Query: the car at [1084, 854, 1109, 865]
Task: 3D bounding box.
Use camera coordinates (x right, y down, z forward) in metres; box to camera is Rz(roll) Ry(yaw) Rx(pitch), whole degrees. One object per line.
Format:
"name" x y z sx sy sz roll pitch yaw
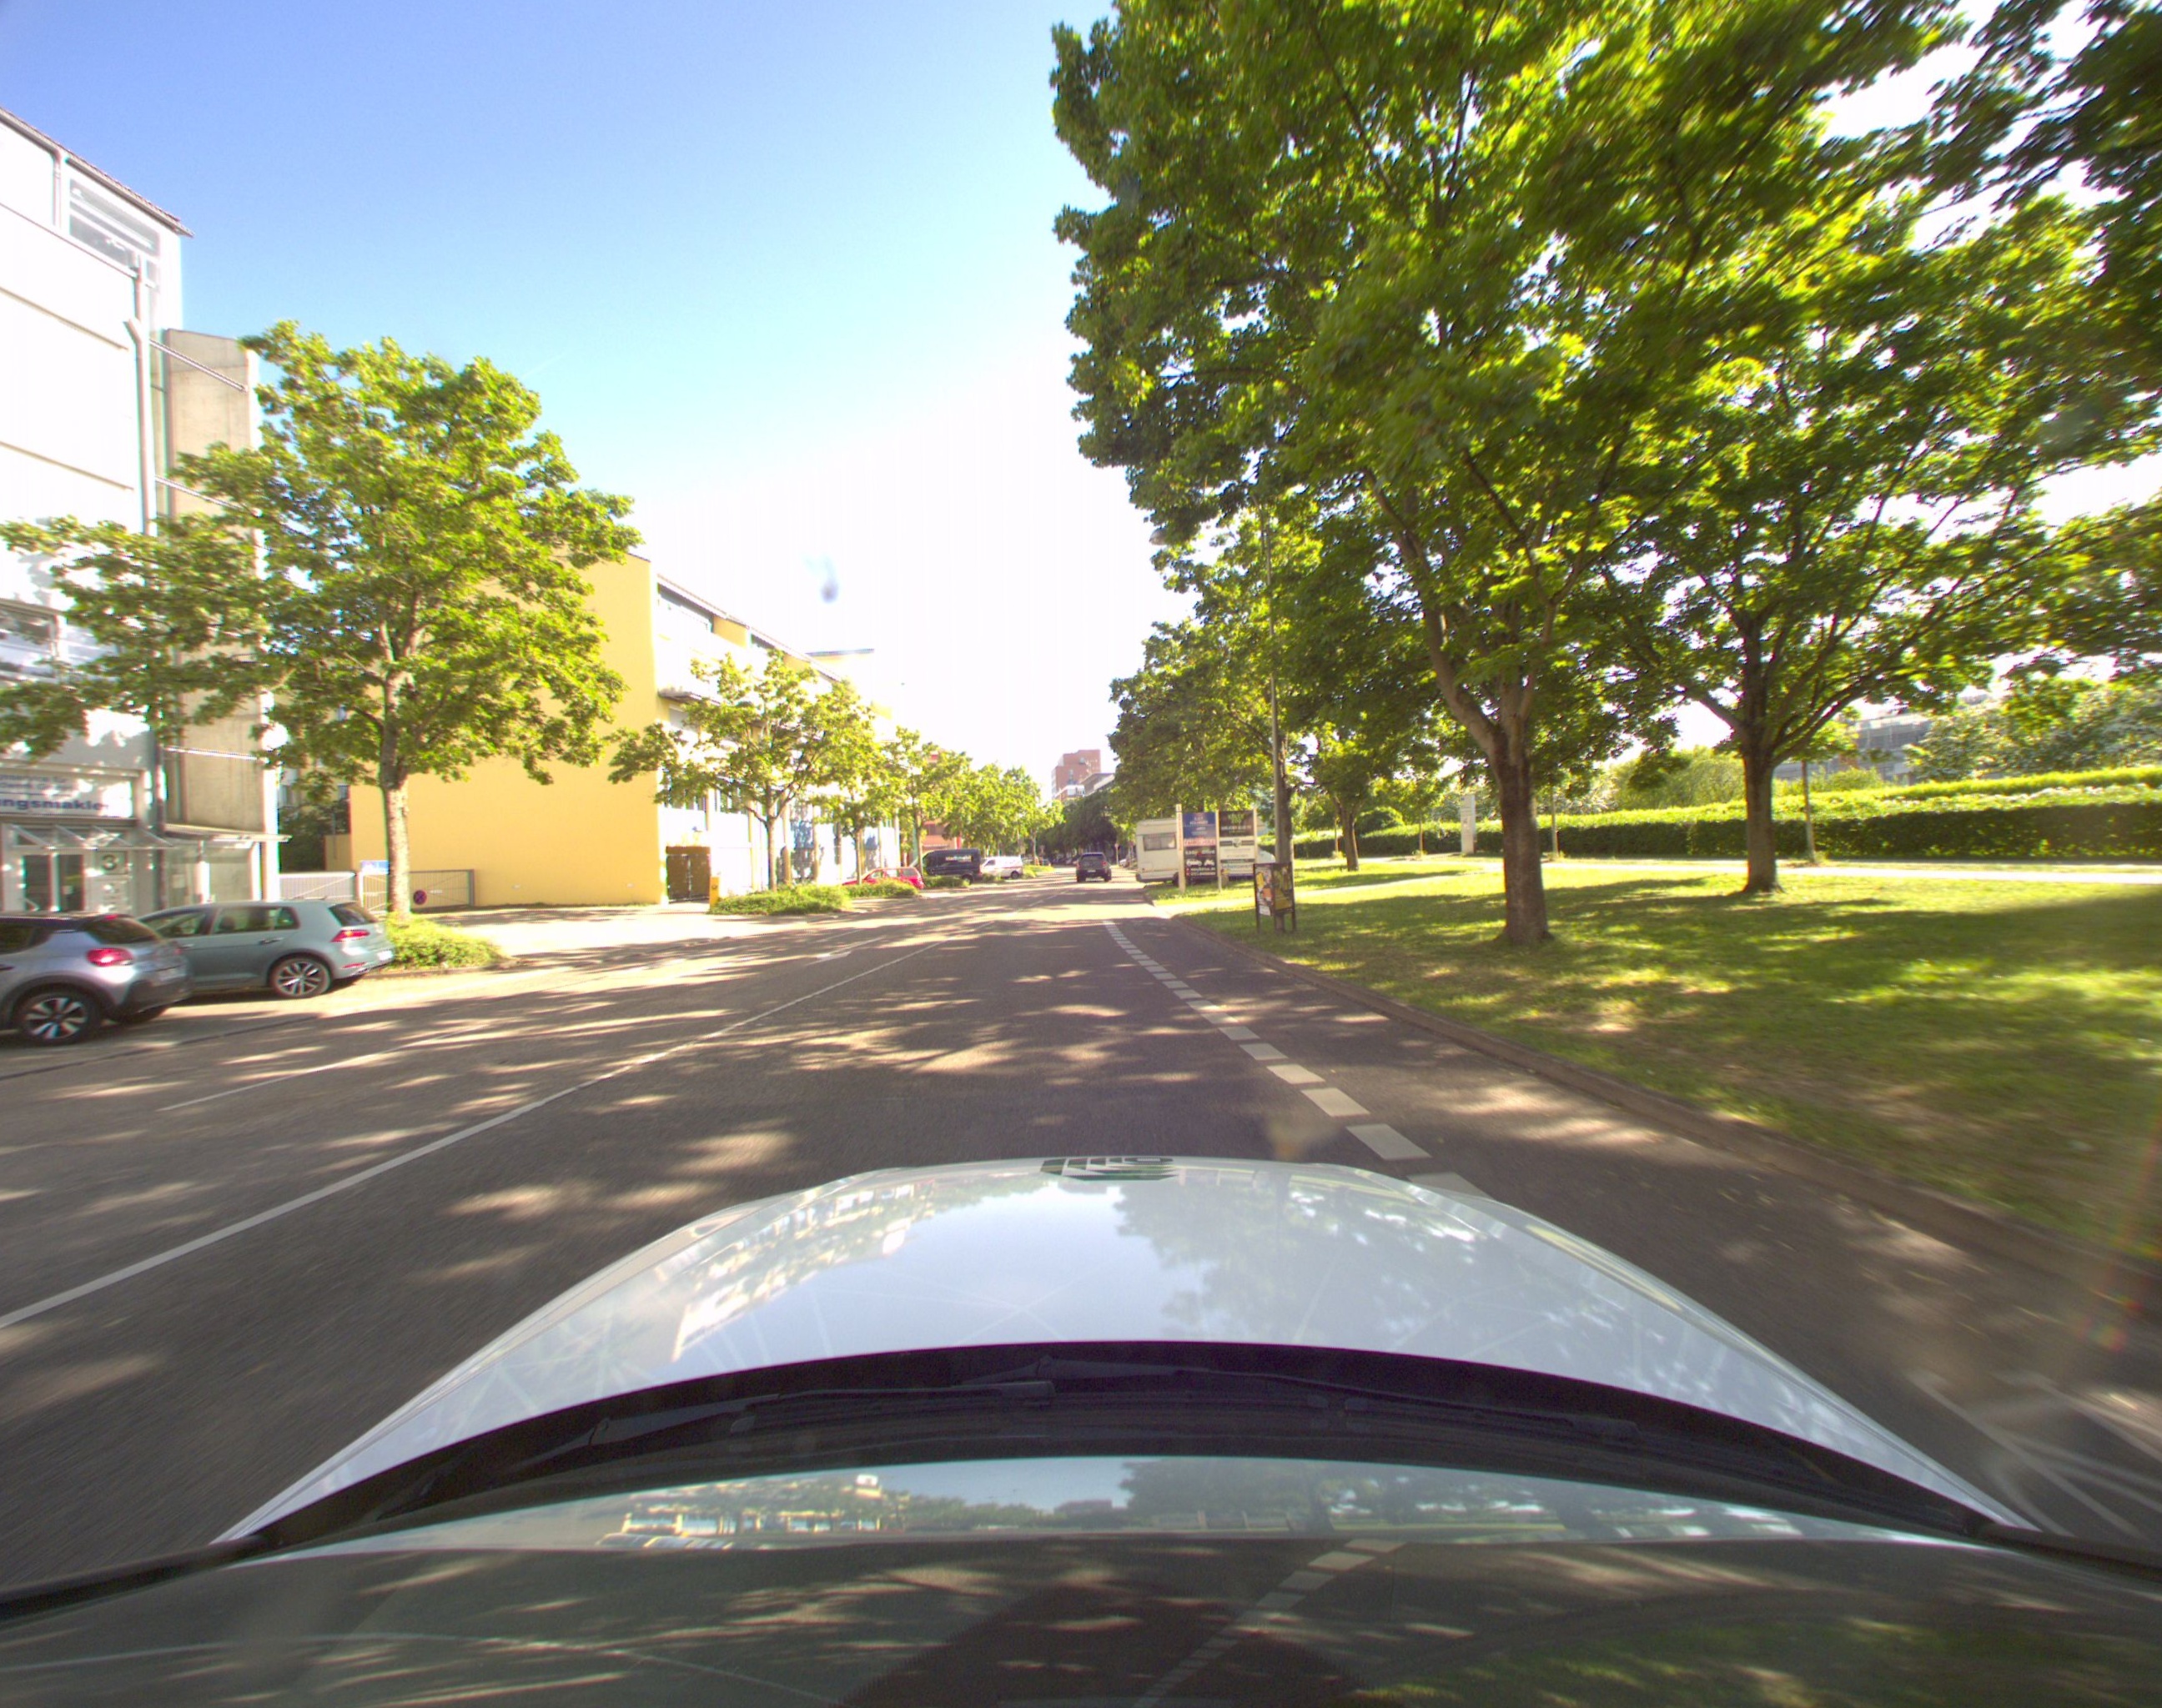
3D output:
"car" 2.517 0.857 132.019 3.941 1.397 1.513 -5 0 -5

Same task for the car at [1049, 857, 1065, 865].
"car" -5.274 1.566 177.743 3.274 1.397 1.513 -5 0 -5

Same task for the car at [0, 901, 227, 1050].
"car" -12.798 1.410 9.229 3.896 1.510 1.811 -2 -1 -29

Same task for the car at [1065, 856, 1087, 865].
"car" -0.947 1.222 155.942 3.941 1.397 1.513 -5 0 -5

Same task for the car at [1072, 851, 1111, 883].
"car" 0.716 0.770 52.256 2.123 1.835 4.946 -2 0 4

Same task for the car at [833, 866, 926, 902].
"car" -10.315 1.504 41.672 4.424 1.552 1.908 -3 0 -21

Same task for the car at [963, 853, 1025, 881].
"car" -7.504 1.124 70.532 4.916 2.083 1.966 -3 -1 -31

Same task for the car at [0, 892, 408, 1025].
"car" -12.858 1.436 12.239 3.896 1.510 1.811 -2 -1 -28

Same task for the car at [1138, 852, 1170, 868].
"car" 7.713 0.606 86.467 3.231 1.397 1.517 -5 0 2

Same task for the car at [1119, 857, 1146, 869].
"car" 6.459 1.115 101.847 3.231 1.277 1.517 -5 0 2

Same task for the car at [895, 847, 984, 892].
"car" -9.079 0.958 52.381 5.282 2.545 1.971 -3 -1 -22

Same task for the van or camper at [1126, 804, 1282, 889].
"van or camper" 5.063 -0.290 34.378 6.054 2.928 2.577 -5 -1 3
